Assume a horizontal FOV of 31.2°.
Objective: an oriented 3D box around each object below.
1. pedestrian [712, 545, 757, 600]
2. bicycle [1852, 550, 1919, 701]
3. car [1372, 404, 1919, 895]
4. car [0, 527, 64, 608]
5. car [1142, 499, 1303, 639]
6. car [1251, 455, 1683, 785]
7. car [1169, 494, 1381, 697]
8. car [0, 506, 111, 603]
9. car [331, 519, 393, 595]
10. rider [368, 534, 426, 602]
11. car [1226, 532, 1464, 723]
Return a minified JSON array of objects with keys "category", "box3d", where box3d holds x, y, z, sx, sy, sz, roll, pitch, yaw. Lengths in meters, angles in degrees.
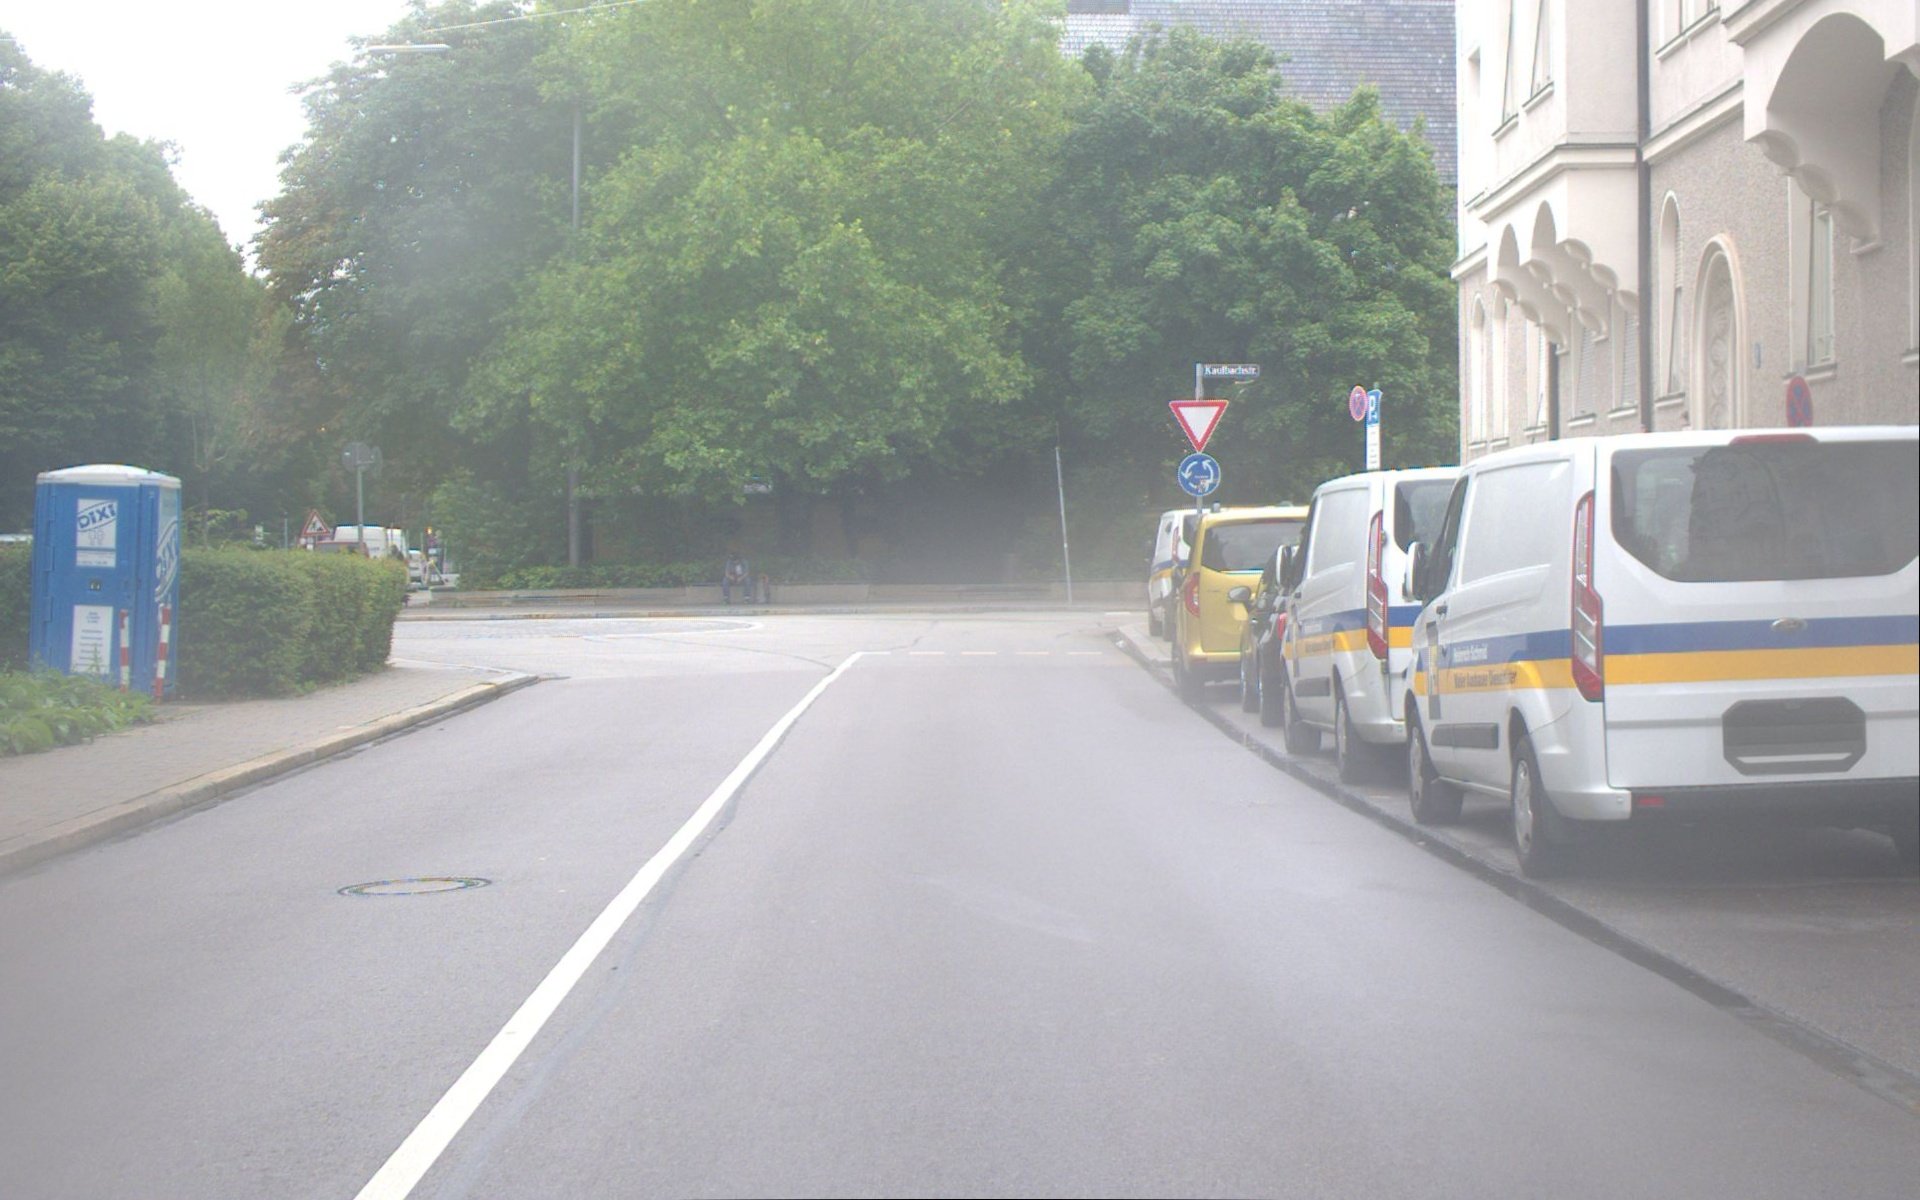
[{"category":"pedestrian","box3d":[-4.933,-0.597,75.246,0.812,1.185,0.919,-1,1,6]},{"category":"bicycle","box3d":[7.515,0.177,26.563,0.694,1.090,2.037,-3,1,1]},{"category":"car","box3d":[3.384,0.152,16.769,1.959,2.007,4.994,-1,1,-2]},{"category":"car","box3d":[-26.928,-0.924,97.441,2.110,2.243,5.196,-1,1,-5]},{"category":"car","box3d":[3.918,-0.501,52.070,1.916,1.955,4.927,-2,1,-1]},{"category":"car","box3d":[3.233,0.069,22.964,1.959,1.930,4.994,-1,1,-2]},{"category":"car","box3d":[3.041,-0.094,34.022,1.850,1.846,4.820,-1,1,3]},{"category":"car","box3d":[-28.092,-1.422,106.756,2.334,2.912,6.580,-1,1,-5]},{"category":"car","box3d":[-20.959,-1.520,120.462,2.041,2.549,5.250,-1,1,-10]},{"category":"rider","box3d":[-14.395,-0.824,87.863,1.082,1.662,1.139,-3,1,8]},{"category":"car","box3d":[3.188,0.182,29.036,1.632,1.479,3.783,-1,1,1]}]
